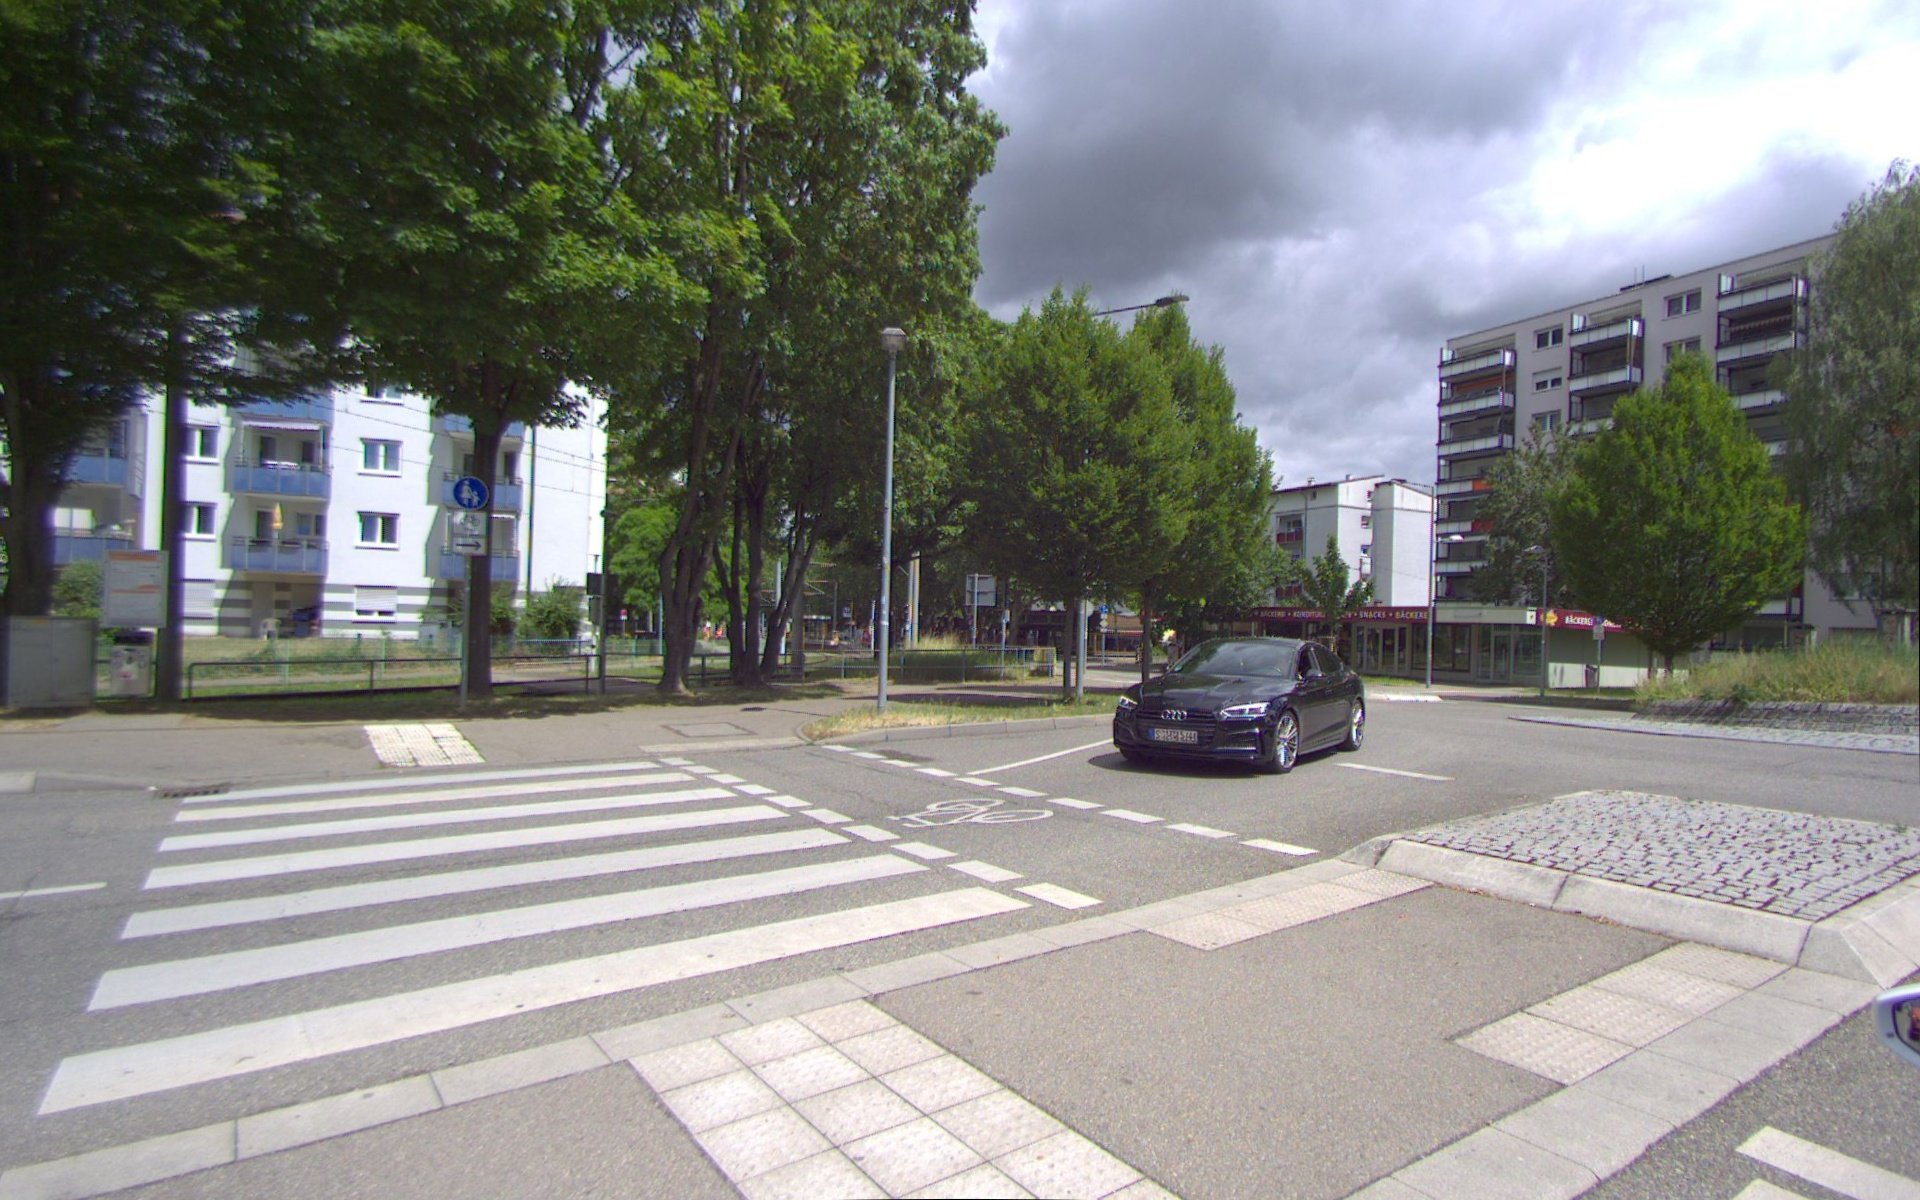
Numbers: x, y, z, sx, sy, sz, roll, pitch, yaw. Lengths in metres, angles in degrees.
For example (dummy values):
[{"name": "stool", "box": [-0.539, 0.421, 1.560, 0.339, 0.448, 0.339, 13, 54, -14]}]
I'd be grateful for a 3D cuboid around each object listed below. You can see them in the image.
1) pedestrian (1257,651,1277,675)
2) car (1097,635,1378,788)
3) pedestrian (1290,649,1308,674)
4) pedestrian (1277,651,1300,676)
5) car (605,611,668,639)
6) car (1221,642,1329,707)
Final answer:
[{"name": "pedestrian", "box": [17.460, 3.568, 57.156, 0.867, 1.342, 0.608, 2, -2, -19]}, {"name": "car", "box": [3.481, 1.165, 11.882, 1.793, 1.402, 4.604, 0, -2, 35]}, {"name": "pedestrian", "box": [19.277, 3.488, 57.111, 0.709, 1.399, 0.696, 2, -2, -20]}, {"name": "pedestrian", "box": [18.545, 3.555, 56.672, 0.869, 1.342, 0.817, 2, 0, -27]}, {"name": "car", "box": [-22.135, 1.718, 68.734, 3.941, 1.832, 1.990, 2, -2, -21]}, {"name": "car", "box": [8.768, 2.038, 28.332, 1.822, 1.474, 4.389, 2, 0, 3]}]
